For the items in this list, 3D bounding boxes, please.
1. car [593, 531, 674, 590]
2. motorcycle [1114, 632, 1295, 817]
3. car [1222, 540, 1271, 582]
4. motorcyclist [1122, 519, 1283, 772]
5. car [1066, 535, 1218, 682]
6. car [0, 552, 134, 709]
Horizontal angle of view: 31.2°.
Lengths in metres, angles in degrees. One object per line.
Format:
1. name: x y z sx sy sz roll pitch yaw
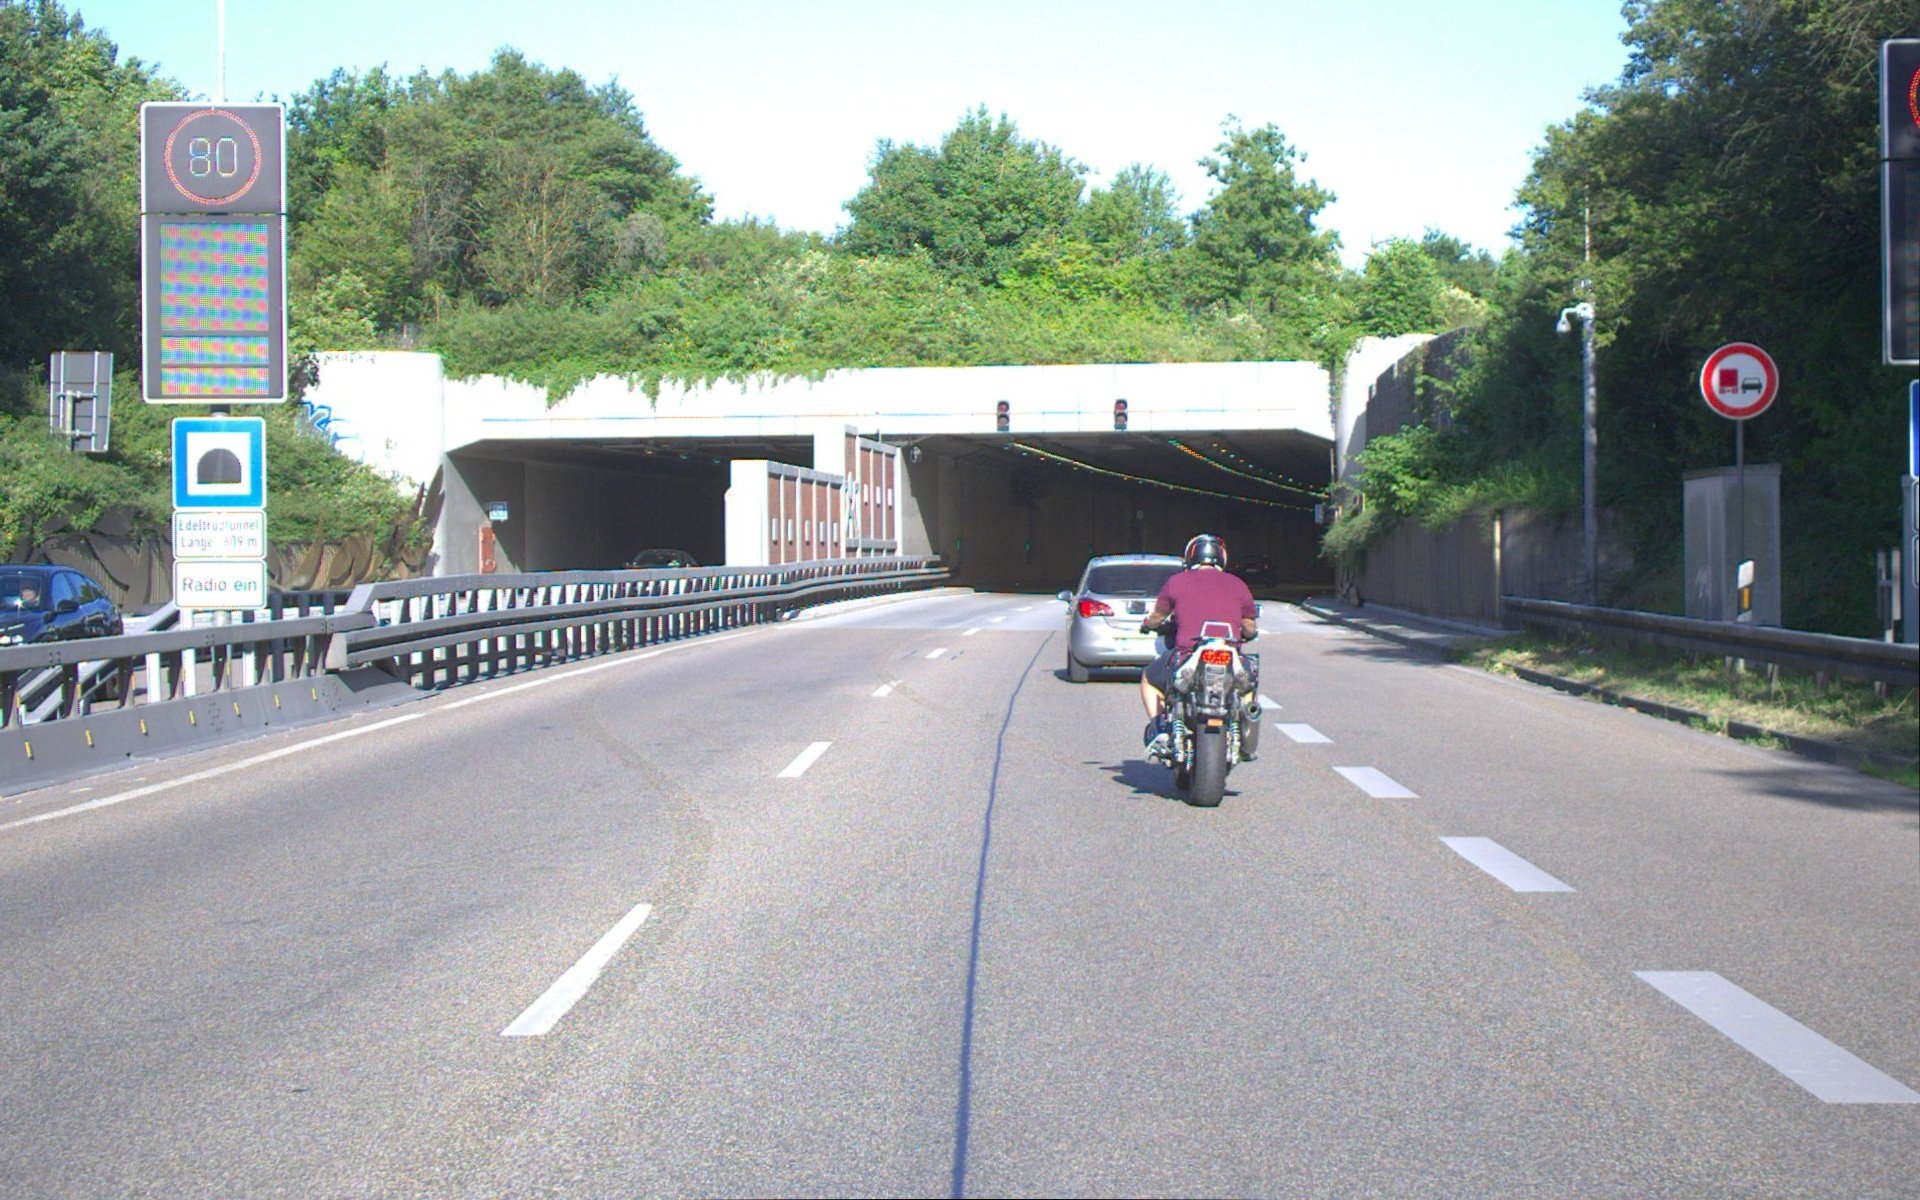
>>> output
1. car: -9.971 -1.220 105.420 1.667 1.669 4.863 1 2 4
2. motorcycle: 1.471 0.731 21.173 0.858 0.988 2.729 1 1 -1
3. car: 13.654 -1.871 163.717 1.994 1.919 3.999 0 2 10
4. motorcyclist: 1.482 0.261 21.166 0.883 1.496 1.063 1 2 0
5. car: 2.100 0.060 40.397 1.667 1.546 4.000 1 2 2
6. car: -10.320 0.275 36.454 1.993 1.481 4.200 0 2 2
